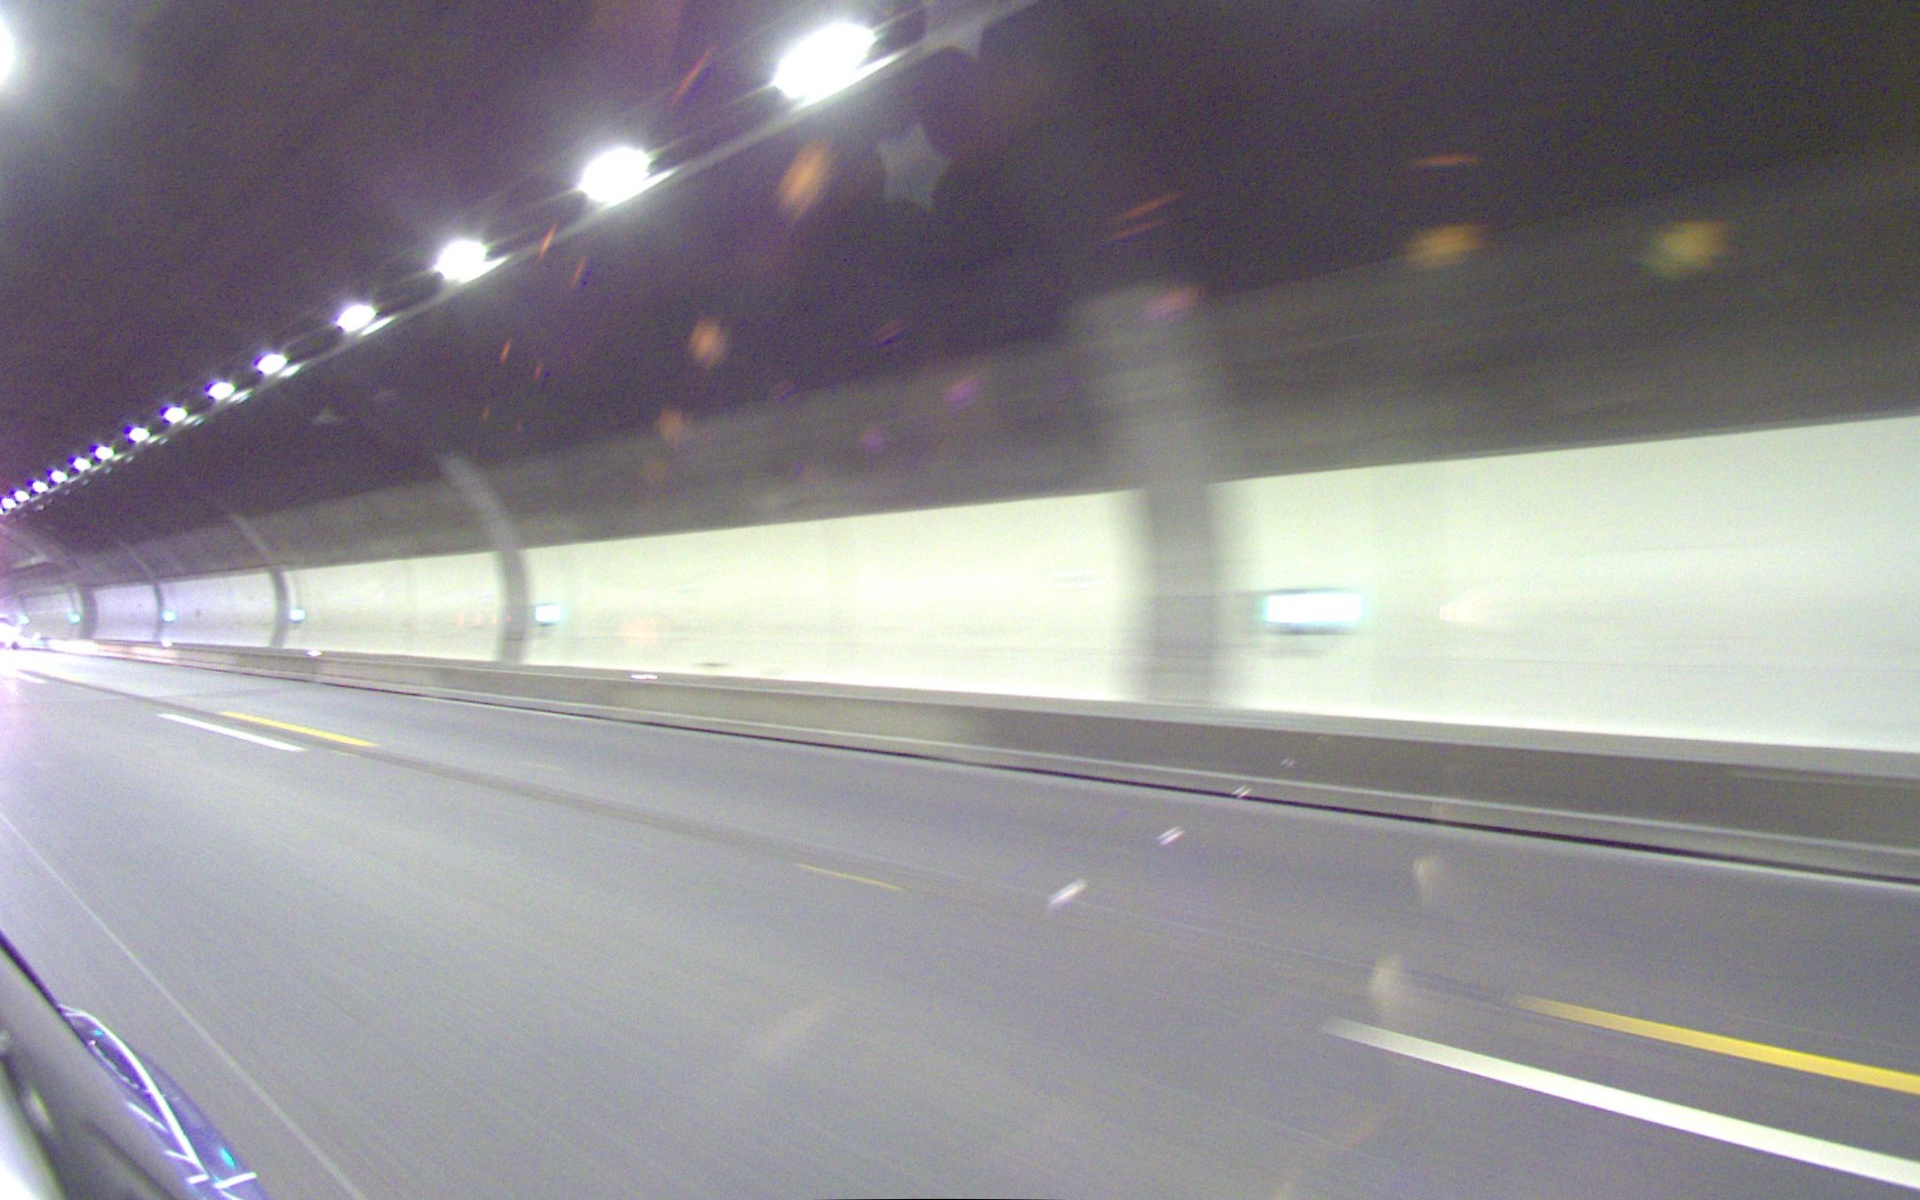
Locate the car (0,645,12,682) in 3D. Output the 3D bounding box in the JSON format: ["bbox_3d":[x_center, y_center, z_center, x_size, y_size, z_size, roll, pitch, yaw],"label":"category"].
[{"bbox_3d":[-43.391,2.772,44.497,4.848,1.552,1.973,-1,-2,41],"label":"car"}]
